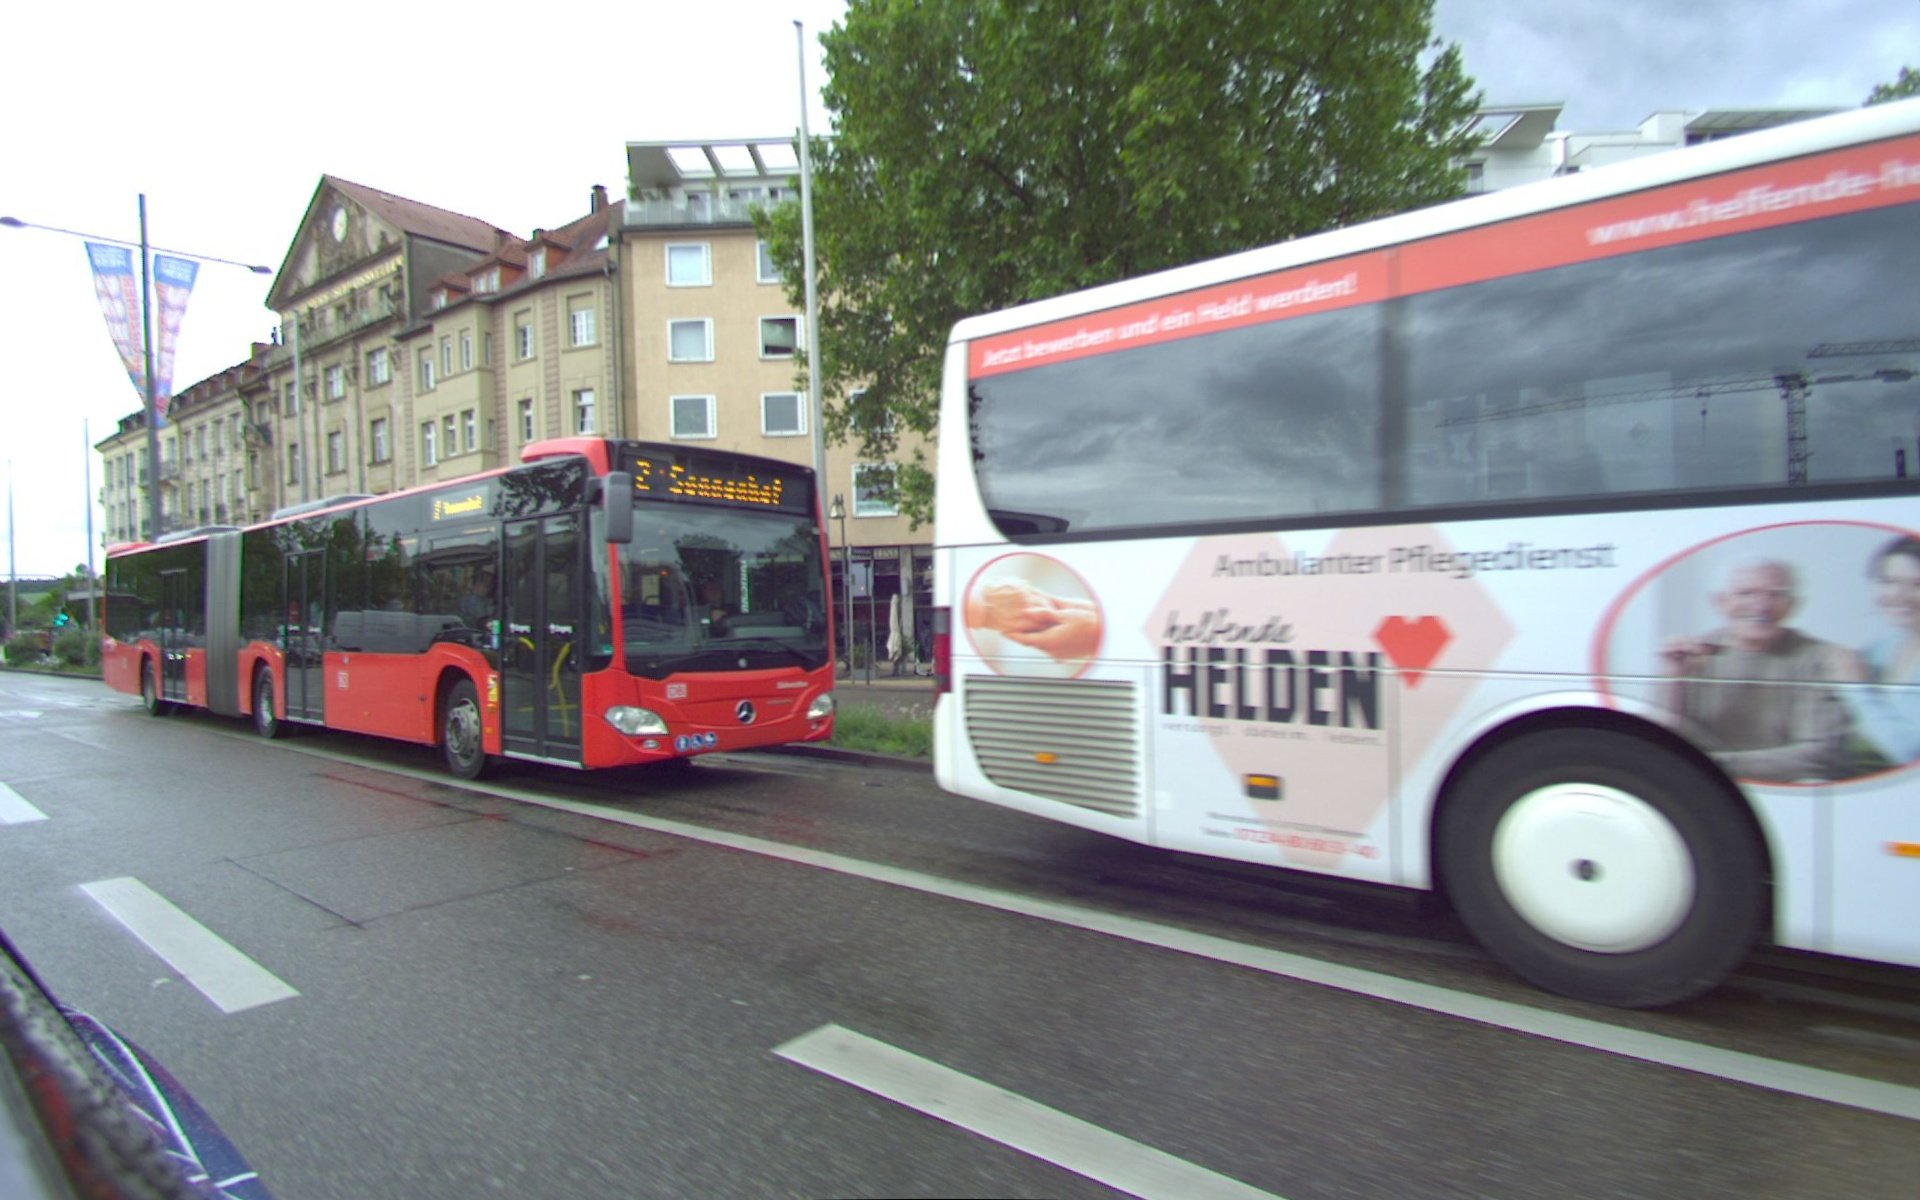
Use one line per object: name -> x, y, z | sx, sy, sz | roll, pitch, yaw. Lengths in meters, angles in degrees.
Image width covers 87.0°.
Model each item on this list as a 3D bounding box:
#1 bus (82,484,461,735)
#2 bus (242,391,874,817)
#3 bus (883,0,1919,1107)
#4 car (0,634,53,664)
bus -> -12.235, 0.256, 17.428 | 9.904, 3.270, 2.781 | -2, -2, 40
bus -> -5.091, 0.132, 11.395 | 8.835, 3.156, 2.724 | -2, -1, 40
bus -> 5.383, -0.315, 2.733 | 12.544, 3.465, 2.926 | -2, -1, 39
car -> -56.749, 2.956, 61.262 | 4.094, 1.693, 1.976 | -2, -2, 36
